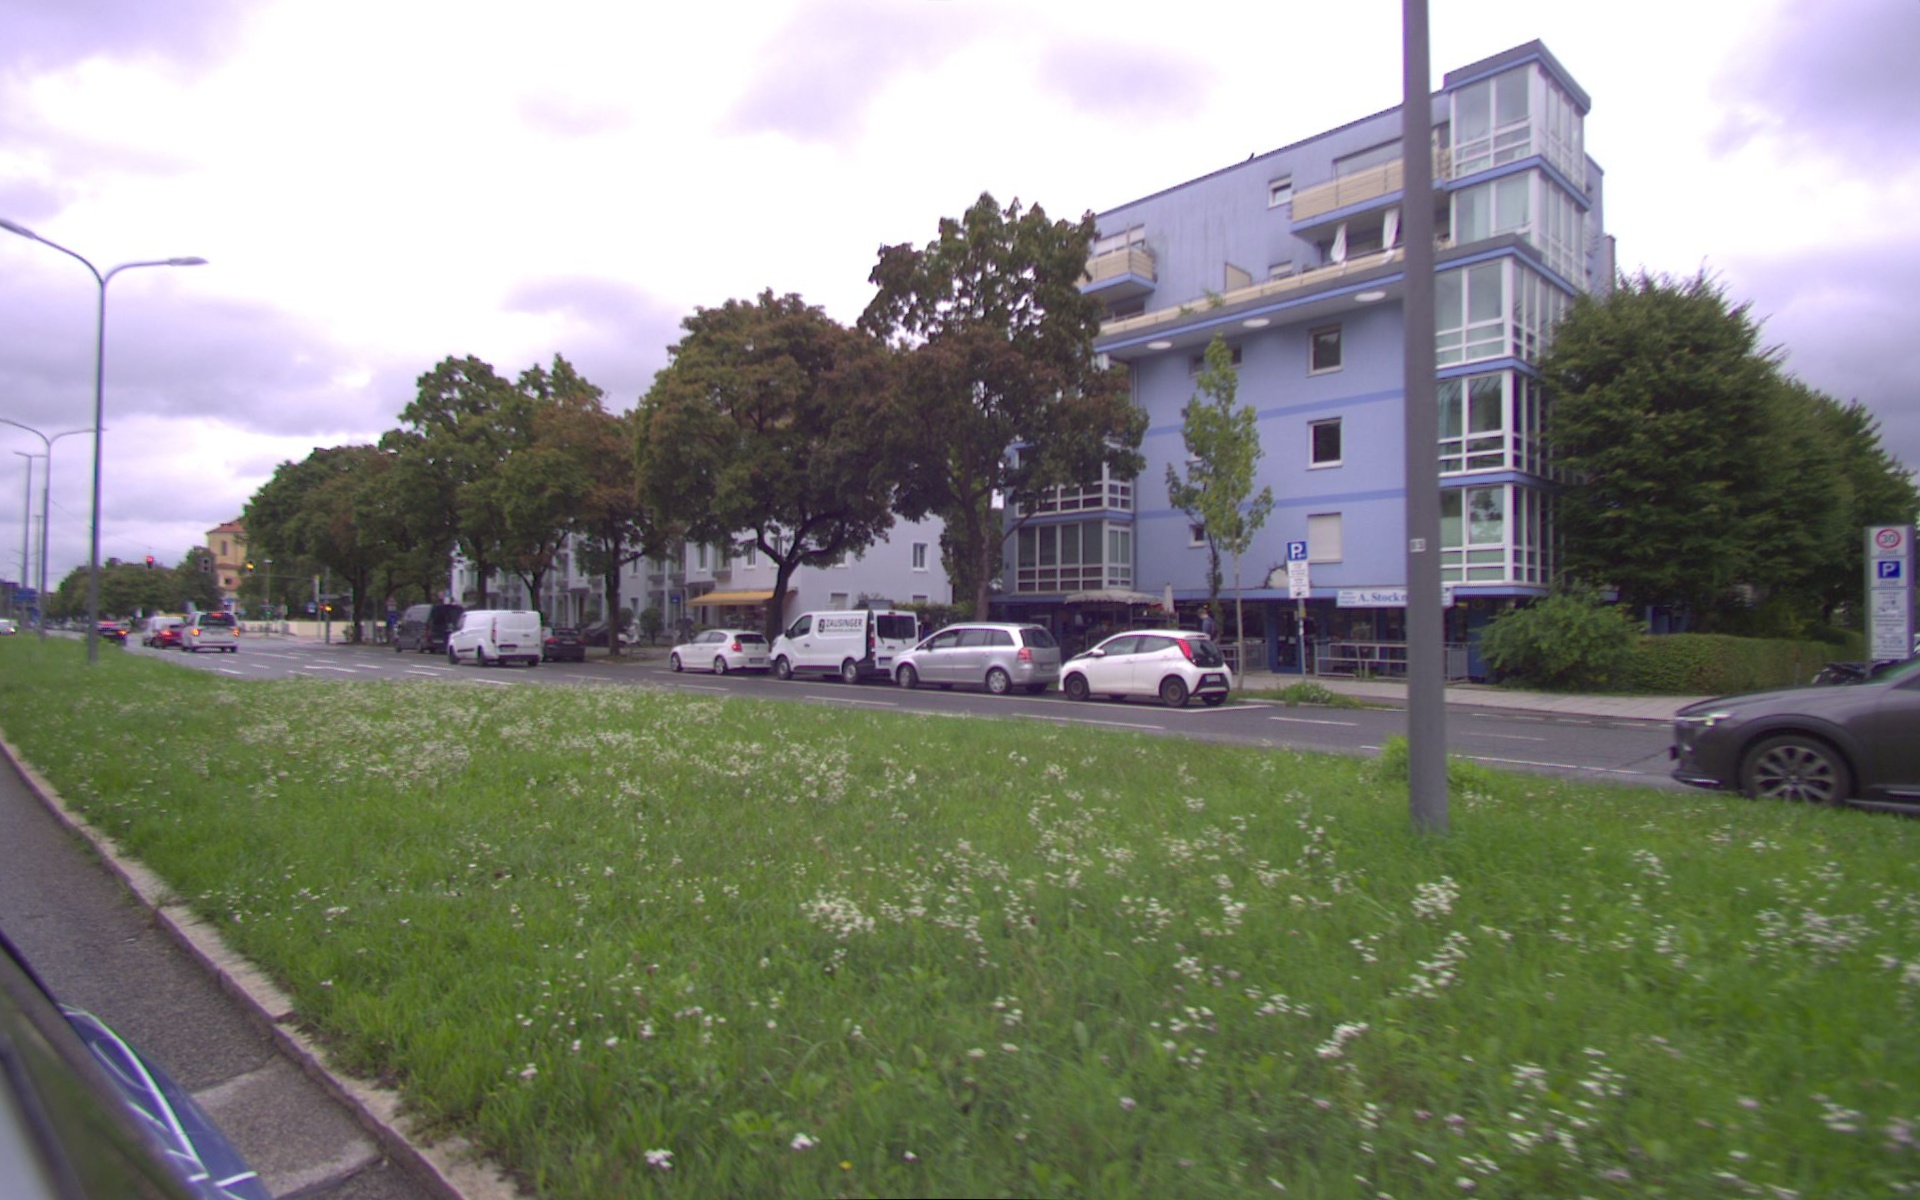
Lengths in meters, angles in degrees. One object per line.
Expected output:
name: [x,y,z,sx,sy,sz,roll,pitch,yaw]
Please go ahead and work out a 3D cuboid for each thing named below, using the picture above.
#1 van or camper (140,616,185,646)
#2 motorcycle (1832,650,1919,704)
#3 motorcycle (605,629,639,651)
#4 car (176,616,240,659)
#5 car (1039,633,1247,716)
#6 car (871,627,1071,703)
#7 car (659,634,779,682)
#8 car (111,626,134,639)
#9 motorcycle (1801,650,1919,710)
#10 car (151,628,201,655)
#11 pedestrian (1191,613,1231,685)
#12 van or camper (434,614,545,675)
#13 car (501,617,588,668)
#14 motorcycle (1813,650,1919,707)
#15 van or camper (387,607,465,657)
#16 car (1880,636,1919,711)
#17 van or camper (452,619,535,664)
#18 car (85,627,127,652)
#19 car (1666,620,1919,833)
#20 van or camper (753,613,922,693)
van or camper: [-49.663,1.946,62.965,1.770,1.811,4.128,2,-3,-44]
motorcycle: [20.597,1.675,21.993,2.457,1.141,0.495,0,-2,17]
motorcycle: [-18.317,2.188,54.868,0.463,1.179,1.790,-2,-3,41]
car: [-37.254,1.858,50.074,1.917,2.013,4.707,2,-3,-44]
car: [3.614,1.435,20.423,3.903,1.501,1.629,-2,-3,44]
car: [0.192,1.464,23.875,4.657,1.628,1.683,-1,-3,38]
car: [-7.746,1.790,32.248,4.336,1.405,1.656,-2,-3,44]
car: [-120.459,4.709,145.476,4.002,1.904,2.116,-2,-3,45]
motorcycle: [18.495,1.596,20.274,2.463,1.141,0.494,0,-2,24]
car: [-43.894,2.319,56.645,1.770,1.459,3.674,2,-3,-44]
pedestrian: [6.437,1.244,25.990,0.780,1.819,0.635,-2,-3,44]
van or camper: [-16.996,1.564,36.411,1.992,2.031,5.202,2,-3,-44]
car: [-17.306,1.745,42.080,1.775,2.013,4.550,2,-3,-44]
motorcycle: [19.394,1.637,21.058,2.458,1.141,0.495,0,-2,19]
van or camper: [-28.137,1.693,53.252,5.551,2.506,2.026,-2,-3,45]
car: [23.774,1.723,24.544,2.001,1.695,5.044,-2,-3,44]
van or camper: [-21.454,1.880,46.469,1.997,1.957,4.707,2,-3,-44]
car: [-52.705,2.414,62.453,1.736,1.459,3.674,2,-3,-44]
car: [7.890,0.900,7.319,1.934,1.491,4.262,2,-3,-44]
van or camper: [-3.457,1.400,27.802,1.784,1.983,5.214,2,-3,-45]
